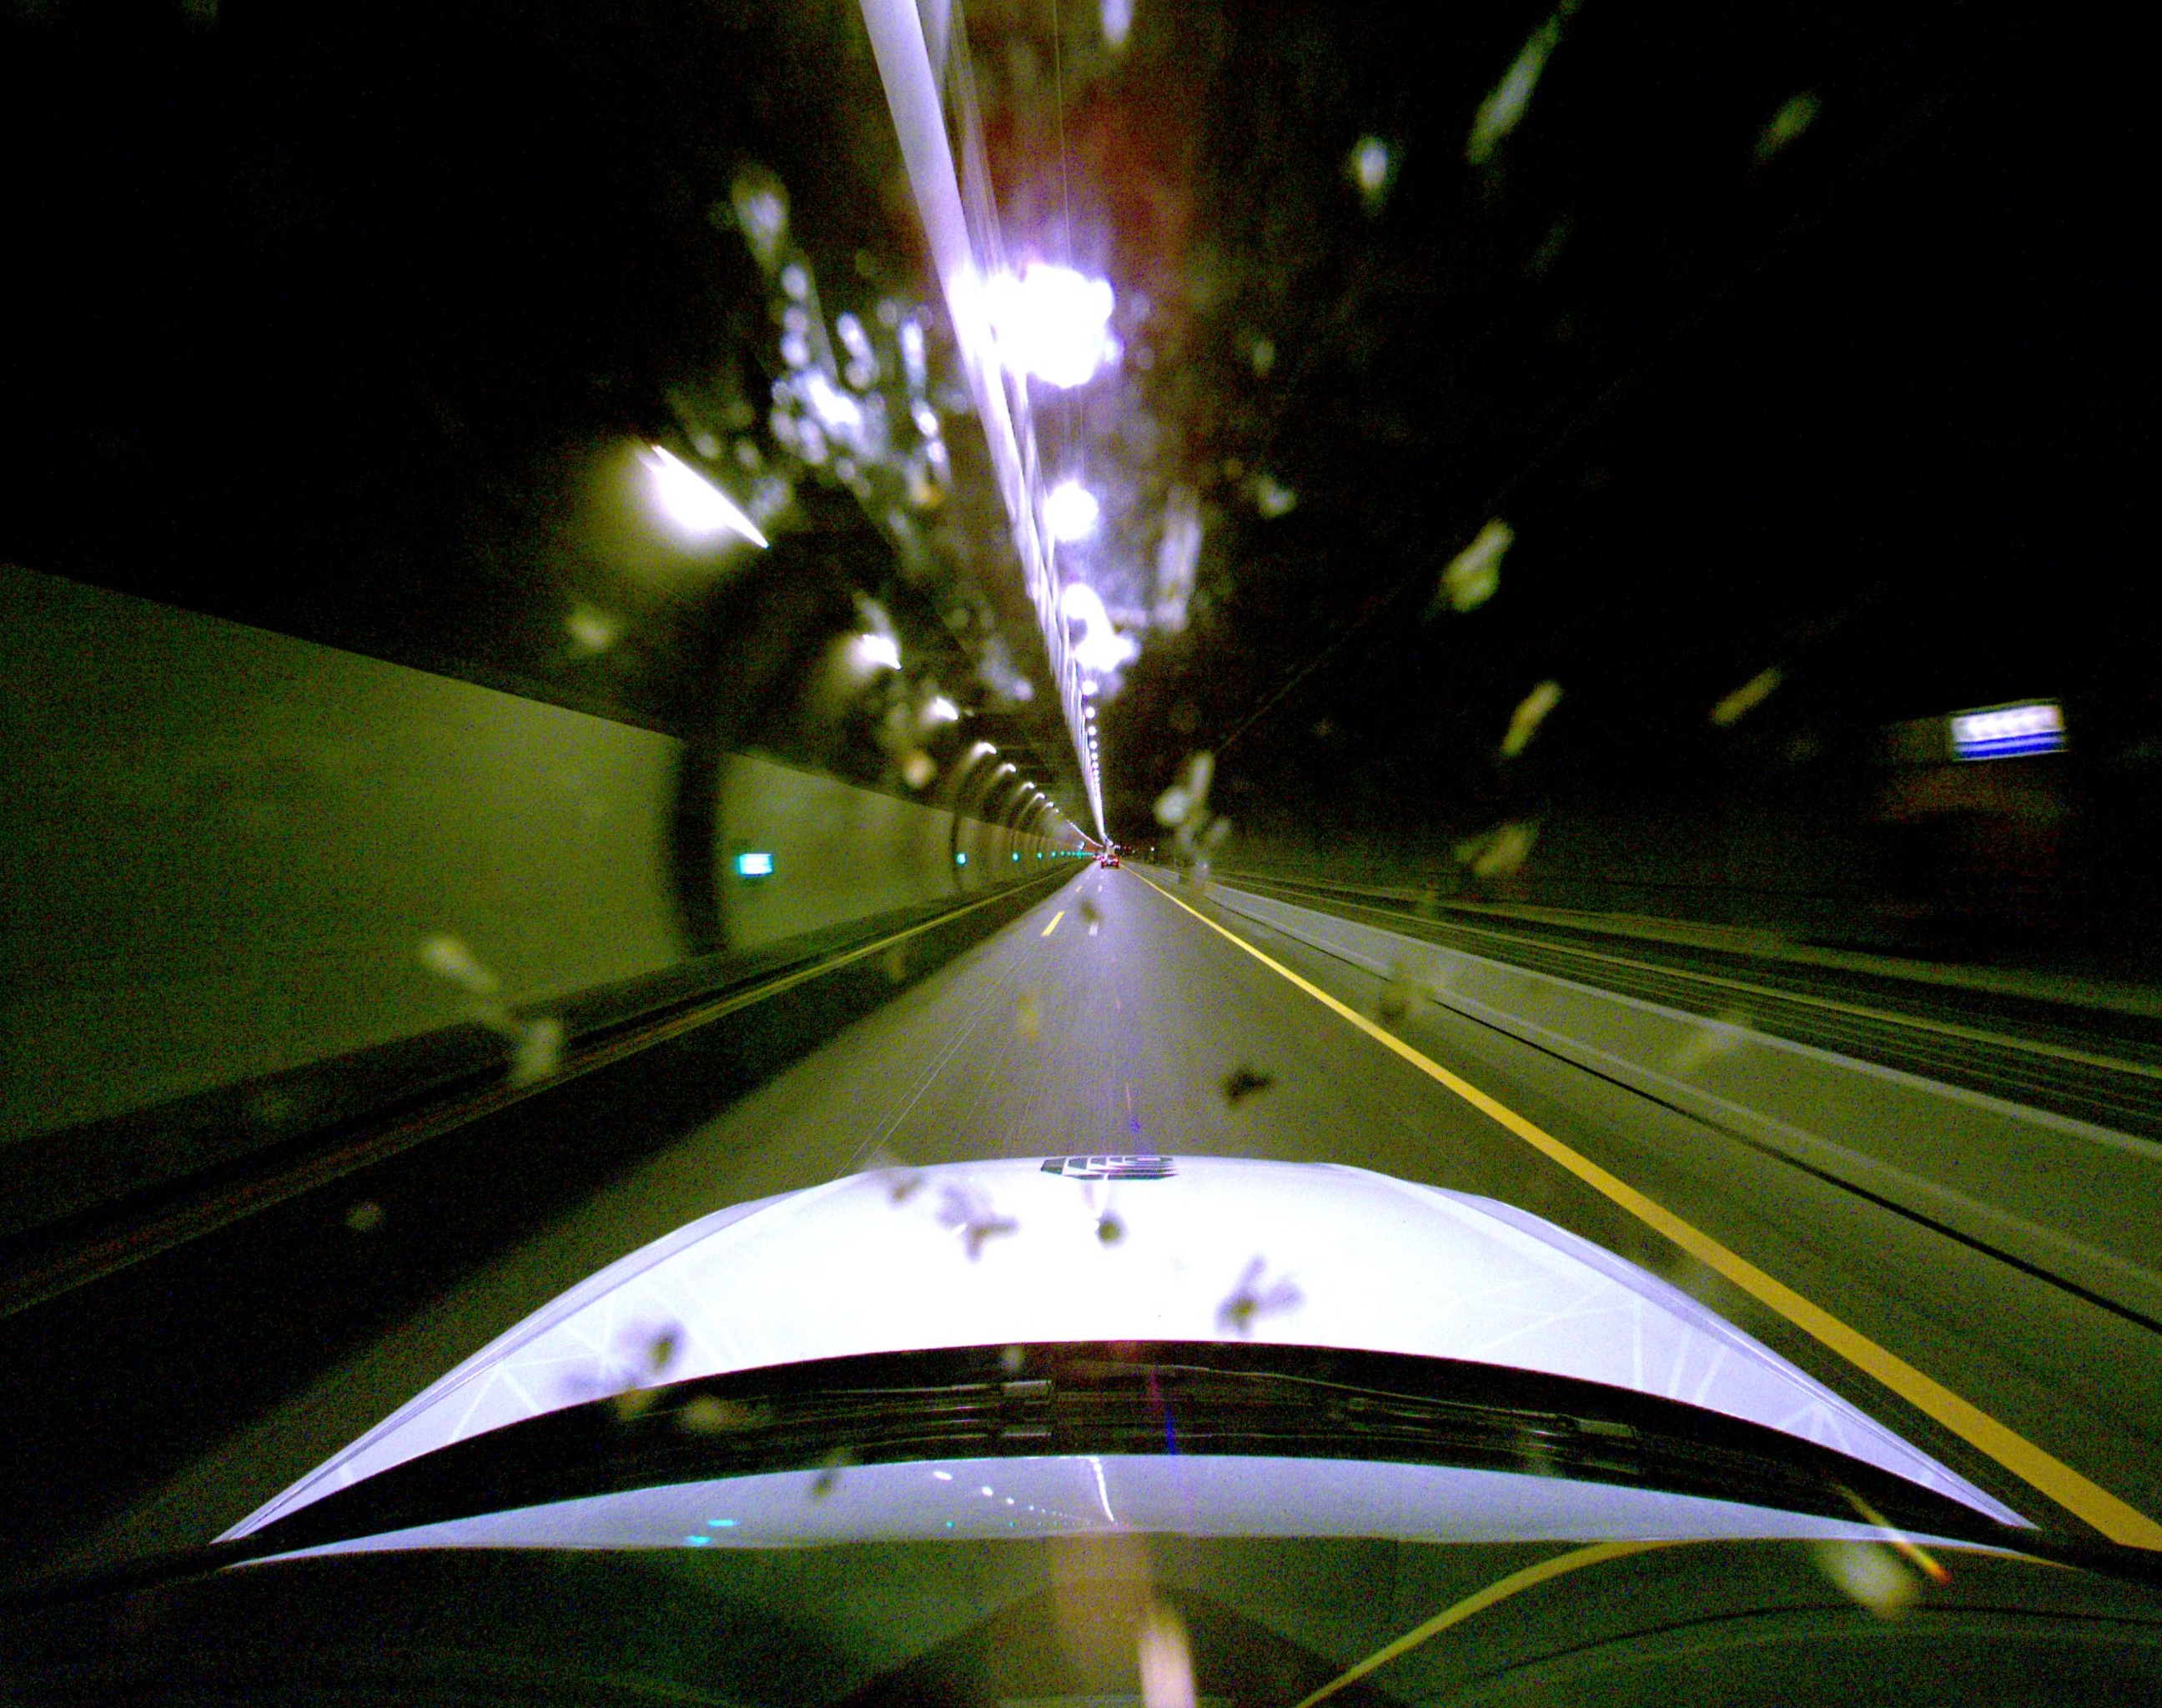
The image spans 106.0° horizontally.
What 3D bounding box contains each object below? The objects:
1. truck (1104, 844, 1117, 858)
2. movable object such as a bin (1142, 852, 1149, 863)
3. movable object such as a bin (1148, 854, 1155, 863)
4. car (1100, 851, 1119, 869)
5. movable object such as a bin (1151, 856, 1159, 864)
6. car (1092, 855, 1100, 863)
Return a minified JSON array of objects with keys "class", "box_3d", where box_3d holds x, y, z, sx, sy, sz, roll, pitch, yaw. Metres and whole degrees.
[{"class":"truck","box_3d":[9.607,-1.015,268.296,4.051,4.532,14.971,0,0,2]},{"class":"movable object such as a bin","box_3d":[13.234,0.747,166.633,1.230,2.141,2.217,1,0,1]},{"class":"movable object such as a bin","box_3d":[13.780,0.874,159.909,1.230,1.718,2.217,1,0,1]},{"class":"car","box_3d":[3.026,0.640,86.404,1.940,1.794,4.001,-1,0,1]},{"class":"movable object such as a bin","box_3d":[13.500,1.048,148.586,1.230,1.442,2.217,1,0,1]},{"class":"car","box_3d":[3.571,1.195,196.709,1.923,1.687,4.001,-1,0,1]}]
